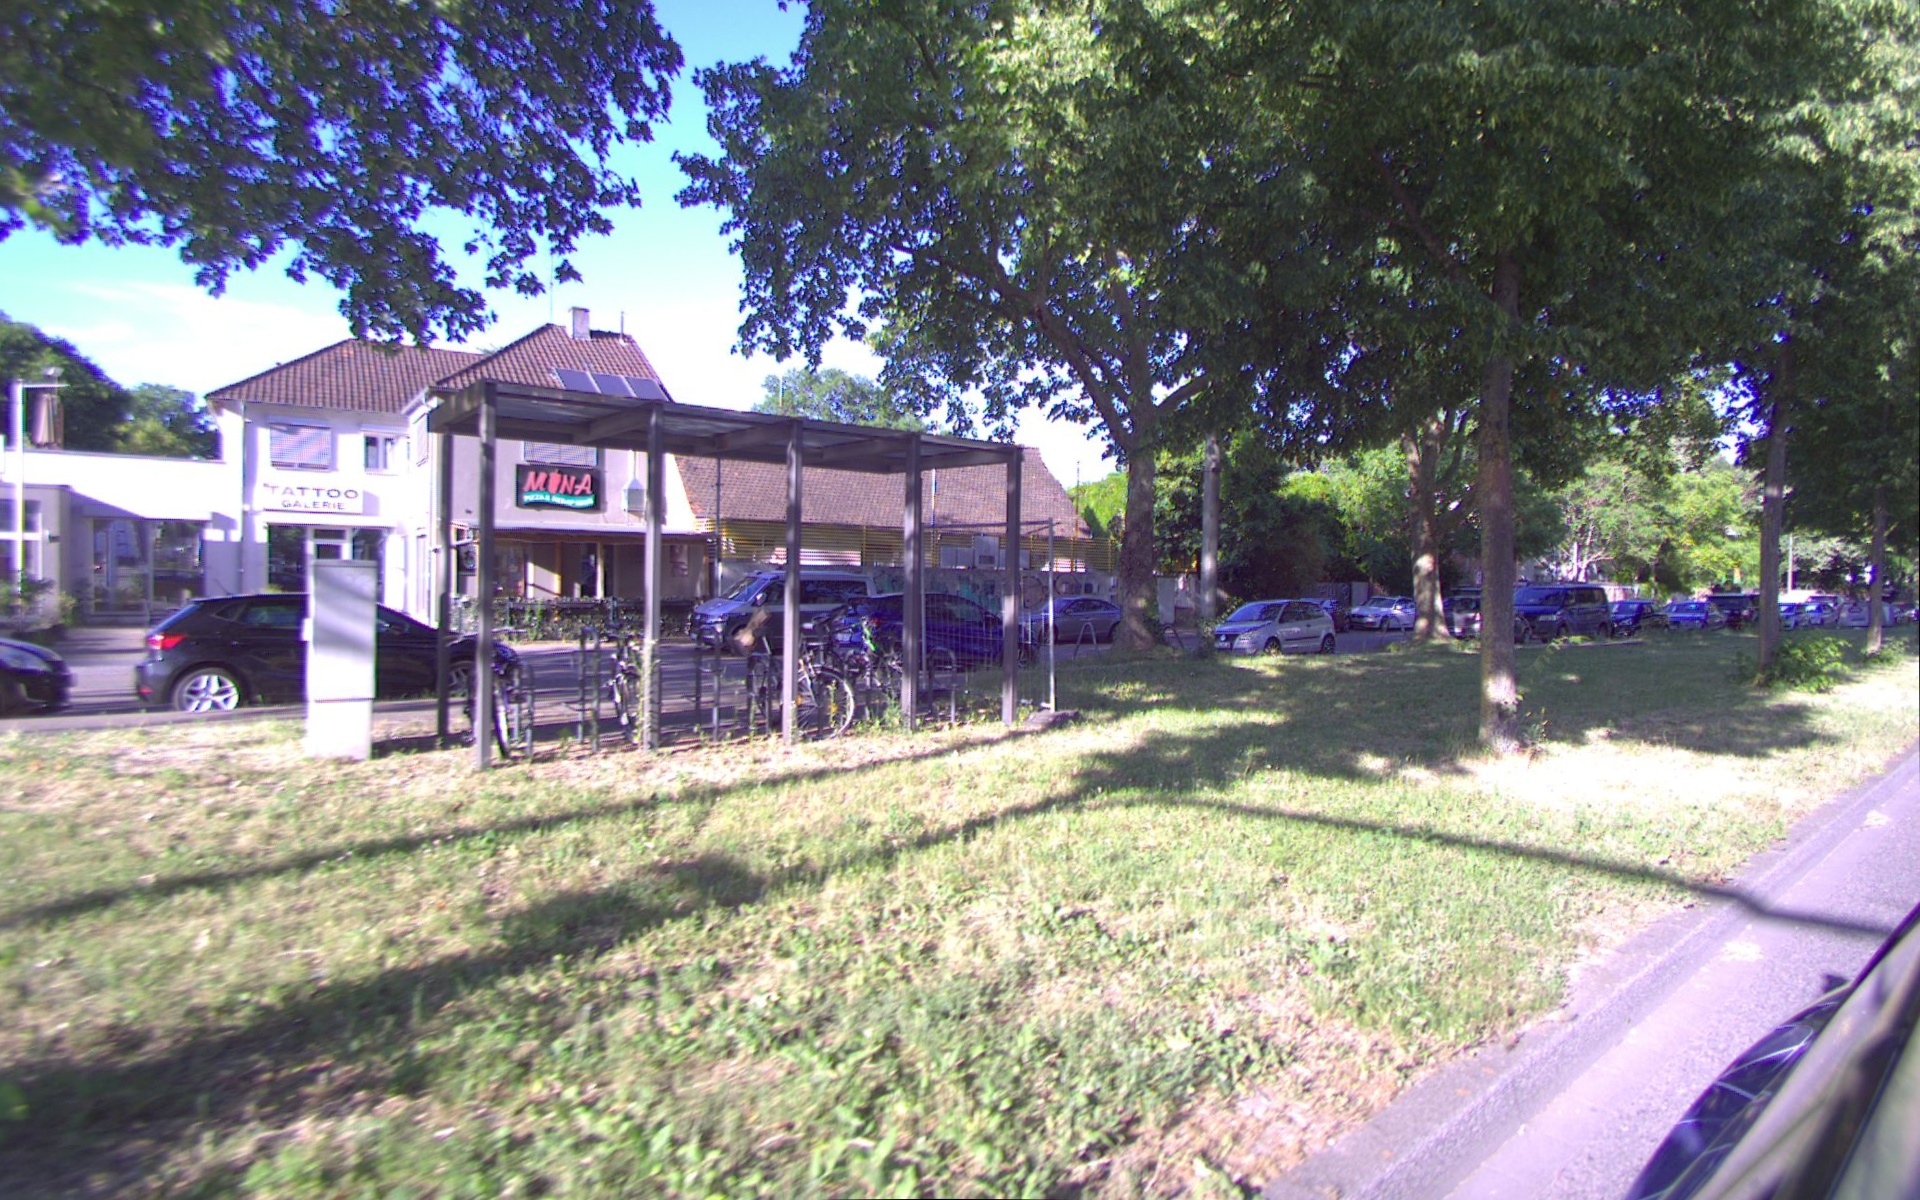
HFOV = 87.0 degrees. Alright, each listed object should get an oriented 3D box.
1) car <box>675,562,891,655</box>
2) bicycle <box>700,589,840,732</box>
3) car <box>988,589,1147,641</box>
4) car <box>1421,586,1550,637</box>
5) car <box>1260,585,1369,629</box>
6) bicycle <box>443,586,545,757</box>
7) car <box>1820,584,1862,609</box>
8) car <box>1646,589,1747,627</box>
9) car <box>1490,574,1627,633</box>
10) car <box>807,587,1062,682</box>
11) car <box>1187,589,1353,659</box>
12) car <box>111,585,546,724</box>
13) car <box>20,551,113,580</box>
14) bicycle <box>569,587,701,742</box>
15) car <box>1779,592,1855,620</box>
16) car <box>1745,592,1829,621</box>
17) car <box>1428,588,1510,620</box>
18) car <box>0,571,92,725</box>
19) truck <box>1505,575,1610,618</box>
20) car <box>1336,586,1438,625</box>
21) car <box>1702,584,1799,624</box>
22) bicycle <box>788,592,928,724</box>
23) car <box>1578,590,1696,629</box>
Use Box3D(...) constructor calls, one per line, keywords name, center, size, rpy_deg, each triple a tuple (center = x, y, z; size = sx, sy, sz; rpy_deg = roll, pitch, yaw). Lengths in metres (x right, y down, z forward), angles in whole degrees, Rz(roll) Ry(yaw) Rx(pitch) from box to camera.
Box3D(name="car", center=(-4.309, 0.162, 25.142), size=(4.978, 2.061, 1.899), rpy_deg=(0, 3, -38))
Box3D(name="bicycle", center=(-1.773, 0.494, 9.258), size=(0.541, 1.184, 1.700), rpy_deg=(0, 0, -38))
Box3D(name="car", center=(3.341, 0.415, 31.060), size=(4.820, 1.504, 1.900), rpy_deg=(0, 1, -35))
Box3D(name="car", center=(15.276, 0.291, 29.374), size=(3.843, 1.397, 1.943), rpy_deg=(0, 1, -39))
Box3D(name="car", center=(13.910, 0.232, 39.612), size=(4.573, 1.548, 1.998), rpy_deg=(0, 3, -41))
Box3D(name="bicycle", center=(-3.673, 0.487, 7.913), size=(0.540, 1.184, 1.703), rpy_deg=(0, 0, -31))
Box3D(name="car", center=(72.597, -0.277, 83.358), size=(3.928, 2.039, 1.998), rpy_deg=(0, 1, -40))
Box3D(name="car", center=(29.113, 0.279, 39.968), size=(4.777, 1.380, 1.999), rpy_deg=(0, 1, -38))
Box3D(name="car", center=(19.235, 0.081, 32.449), size=(4.927, 1.764, 2.039), rpy_deg=(0, 1, -36))
Box3D(name="car", center=(-0.399, 0.529, 18.165), size=(4.265, 1.507, 1.900), rpy_deg=(0, 1, -36))
Box3D(name="car", center=(7.357, 0.504, 23.865), size=(3.978, 1.504, 1.897), rpy_deg=(0, 1, -40))
Box3D(name="car", center=(-7.567, 0.540, 12.431), size=(4.265, 1.429, 1.899), rpy_deg=(0, 1, -37))
Box3D(name="car", center=(-48.949, -1.870, 55.552), size=(1.958, 1.483, 4.482), rpy_deg=(1, 1, -14))
Box3D(name="bicycle", center=(-2.811, 0.488, 8.649), size=(0.541, 1.184, 1.701), rpy_deg=(0, 0, -37))
Box3D(name="car", center=(42.082, 0.264, 49.659), size=(4.463, 1.332, 1.999), rpy_deg=(0, 1, -38))
Box3D(name="car", center=(37.823, 0.276, 46.262), size=(4.036, 1.226, 2.000), rpy_deg=(0, 1, -36))
Box3D(name="car", center=(23.481, 0.171, 46.655), size=(4.095, 1.420, 1.796), rpy_deg=(0, 1, -37))
Box3D(name="car", center=(-10.996, 0.457, 9.680), size=(3.963, 1.484, 1.899), rpy_deg=(0, 1, -38))
Box3D(name="truck", center=(30.860, -0.189, 52.179), size=(6.459, 2.101, 2.455), rpy_deg=(0, 1, -38))
Box3D(name="car", center=(18.172, 0.199, 42.975), size=(4.568, 1.548, 1.999), rpy_deg=(0, 1, -37))
Box3D(name="car", center=(33.583, 0.133, 42.968), size=(4.565, 1.616, 2.000), rpy_deg=(0, 1, -35))
Box3D(name="bicycle", center=(-1.050, 0.514, 10.004), size=(0.541, 1.184, 1.808), rpy_deg=(0, 0, -36))
Box3D(name="car", center=(23.921, 0.300, 35.710), size=(4.567, 1.265, 2.000), rpy_deg=(0, 1, -36))
